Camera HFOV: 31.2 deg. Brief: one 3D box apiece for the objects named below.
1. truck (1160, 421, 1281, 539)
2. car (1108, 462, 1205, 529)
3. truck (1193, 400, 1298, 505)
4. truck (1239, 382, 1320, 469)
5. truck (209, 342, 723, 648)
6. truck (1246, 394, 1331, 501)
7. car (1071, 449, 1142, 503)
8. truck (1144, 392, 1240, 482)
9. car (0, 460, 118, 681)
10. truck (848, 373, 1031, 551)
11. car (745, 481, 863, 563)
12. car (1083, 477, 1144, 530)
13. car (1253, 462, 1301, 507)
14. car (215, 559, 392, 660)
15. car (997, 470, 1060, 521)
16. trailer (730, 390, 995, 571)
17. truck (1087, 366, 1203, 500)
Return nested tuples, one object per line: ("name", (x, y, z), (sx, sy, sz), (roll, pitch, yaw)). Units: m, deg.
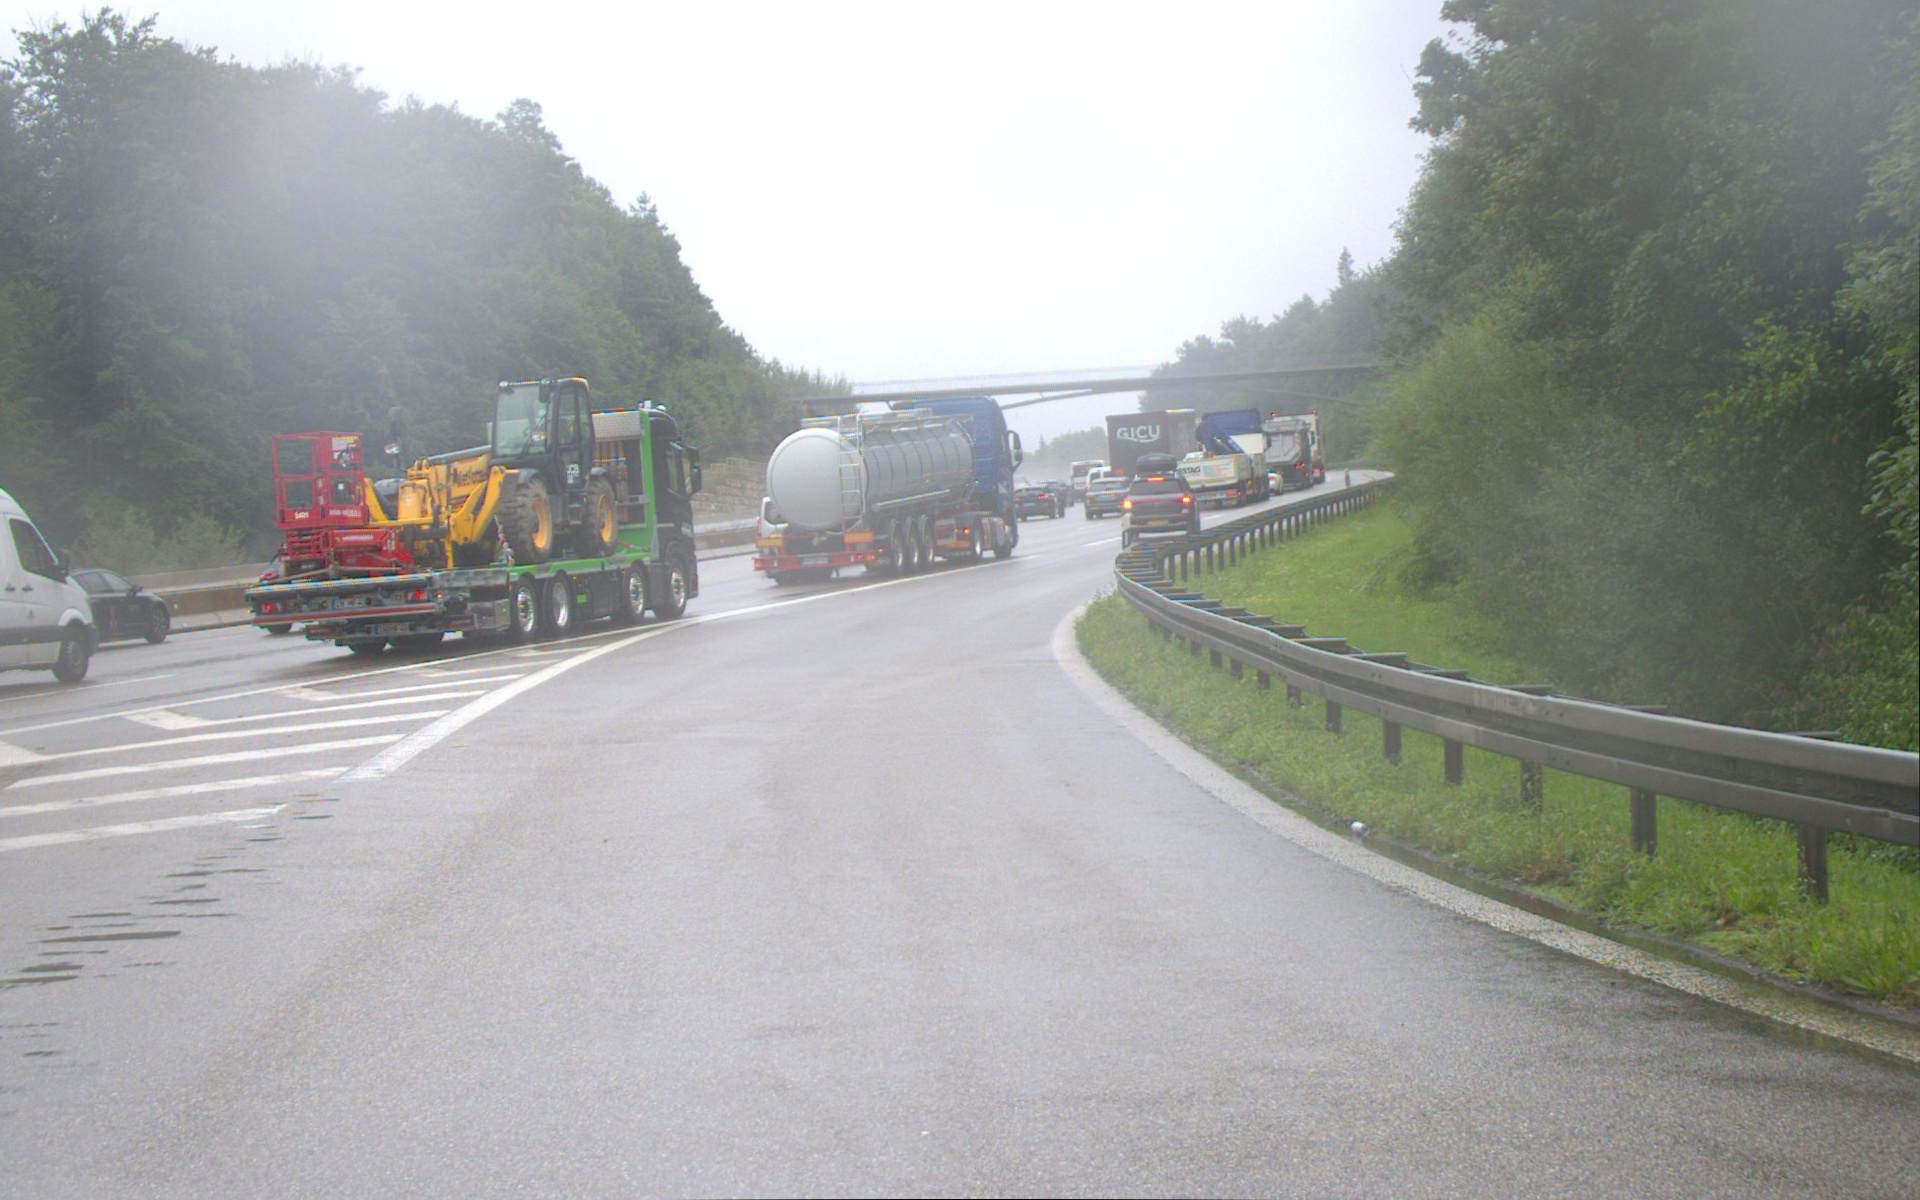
("truck", (10.044, -4.674, 131.479), (3.601, 4.090, 11.558), (-4, 2, 8))
("car", (4.955, -2.608, 86.164), (1.994, 1.630, 3.999), (0, 1, 9))
("truck", (12.297, -6.218, 147.228), (3.508, 4.253, 10.599), (0, 1, 10))
("truck", (15.903, -8.583, 170.430), (3.756, 3.956, 11.057), (0, 1, 6))
("truck", (-6.531, -1.561, 48.286), (2.832, 3.576, 11.792), (-4, 2, 13))
("truck", (18.536, -8.514, 193.247), (4.337, 5.743, 9.728), (0, 1, 8))
("car", (8.503, -7.164, 198.993), (3.247, 2.992, 6.771), (0, 1, 10))
("truck", (12.001, -8.298, 176.524), (3.578, 4.081, 10.876), (-3, 1, 10))
("car", (-12.543, -0.280, 41.131), (2.216, 2.620, 5.841), (-3, 2, 13))
("truck", (-0.398, -3.139, 77.415), (2.878, 3.680, 5.054), (-3, 2, 12))
("car", (-3.656, -1.860, 81.244), (1.820, 1.760, 3.999), (-3, 2, 11))
("car", (5.711, -3.563, 127.624), (1.798, 1.897, 3.999), (-1, 1, 9))
("car", (14.340, -5.225, 155.449), (1.798, 1.897, 3.999), (-4, 1, 9))
("car", (-11.820, 0.145, 62.128), (1.786, 1.721, 3.998), (0, 1, 11))
("car", (2.751, -4.151, 137.430), (1.798, 1.897, 3.999), (-3, 1, 10))
("trailer", (-1.828, -2.550, 70.737), (2.875, 3.277, 10.074), (-3, 2, 13))
("truck", (8.082, -7.104, 148.688), (3.756, 5.480, 10.169), (0, 1, 10))
